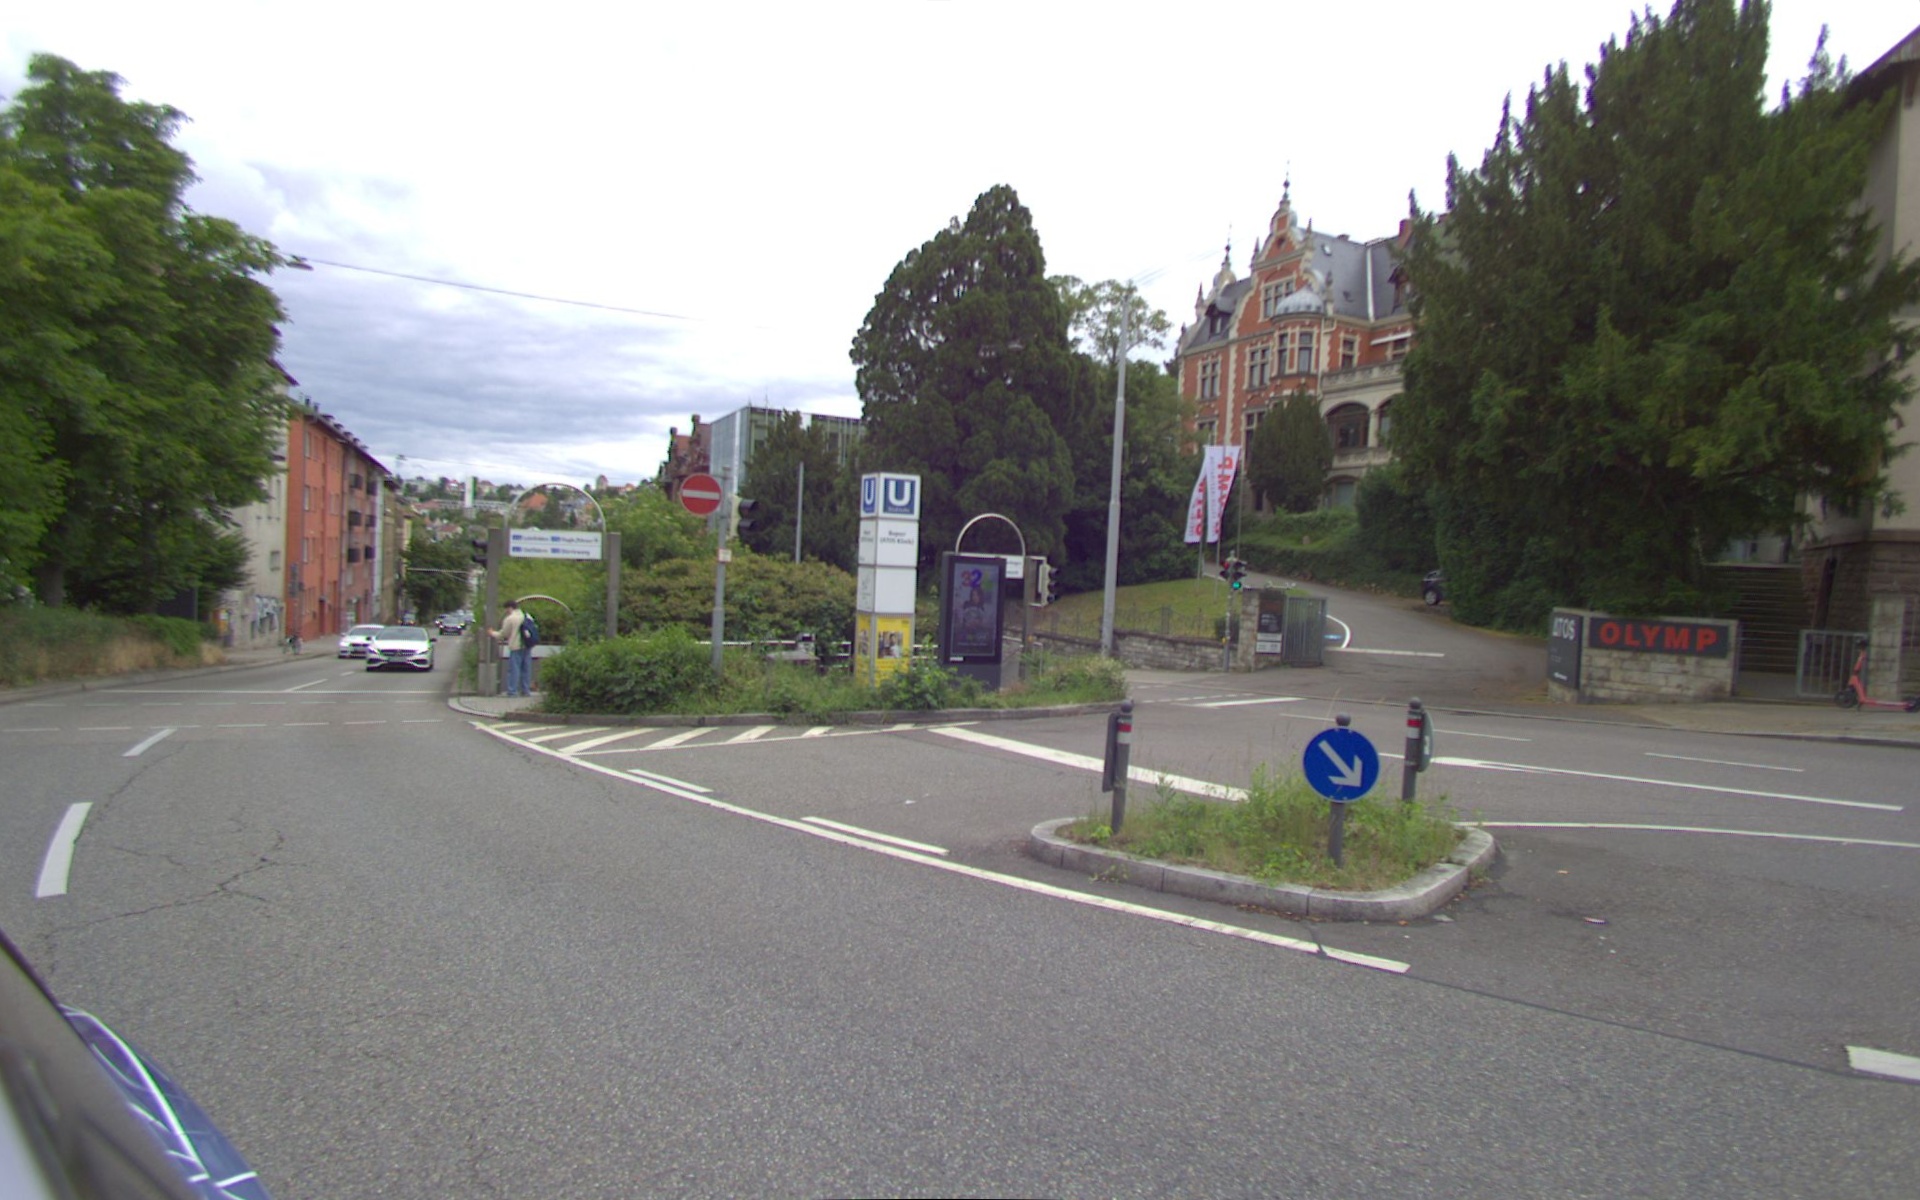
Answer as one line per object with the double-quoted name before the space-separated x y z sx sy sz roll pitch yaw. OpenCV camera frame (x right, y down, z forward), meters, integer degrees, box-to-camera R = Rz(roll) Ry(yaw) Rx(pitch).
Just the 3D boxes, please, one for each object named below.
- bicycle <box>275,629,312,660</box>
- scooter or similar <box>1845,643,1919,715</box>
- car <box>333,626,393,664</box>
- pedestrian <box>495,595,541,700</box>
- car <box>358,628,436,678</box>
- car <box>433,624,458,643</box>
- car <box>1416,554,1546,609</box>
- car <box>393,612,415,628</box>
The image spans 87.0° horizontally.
"bicycle" -26.967 1.797 40.939 2.064 1.152 0.632 1 -3 40
"scooter or similar" 15.752 1.309 16.975 0.543 1.169 1.211 1 -3 -35
"car" -26.053 1.937 44.263 1.965 1.499 4.243 0 -1 -27
"pedestrian" -8.055 0.863 18.485 0.695 1.875 0.616 1 -2 -19
"car" -17.884 1.661 32.251 1.965 1.409 4.243 4 -3 -28
"car" -48.171 3.139 94.845 1.850 1.751 4.013 2 -2 -25
"car" 19.991 -0.658 38.962 1.966 2.029 4.011 0 0 -34
"car" -63.089 2.281 114.915 1.831 1.724 4.322 4 -3 -25
